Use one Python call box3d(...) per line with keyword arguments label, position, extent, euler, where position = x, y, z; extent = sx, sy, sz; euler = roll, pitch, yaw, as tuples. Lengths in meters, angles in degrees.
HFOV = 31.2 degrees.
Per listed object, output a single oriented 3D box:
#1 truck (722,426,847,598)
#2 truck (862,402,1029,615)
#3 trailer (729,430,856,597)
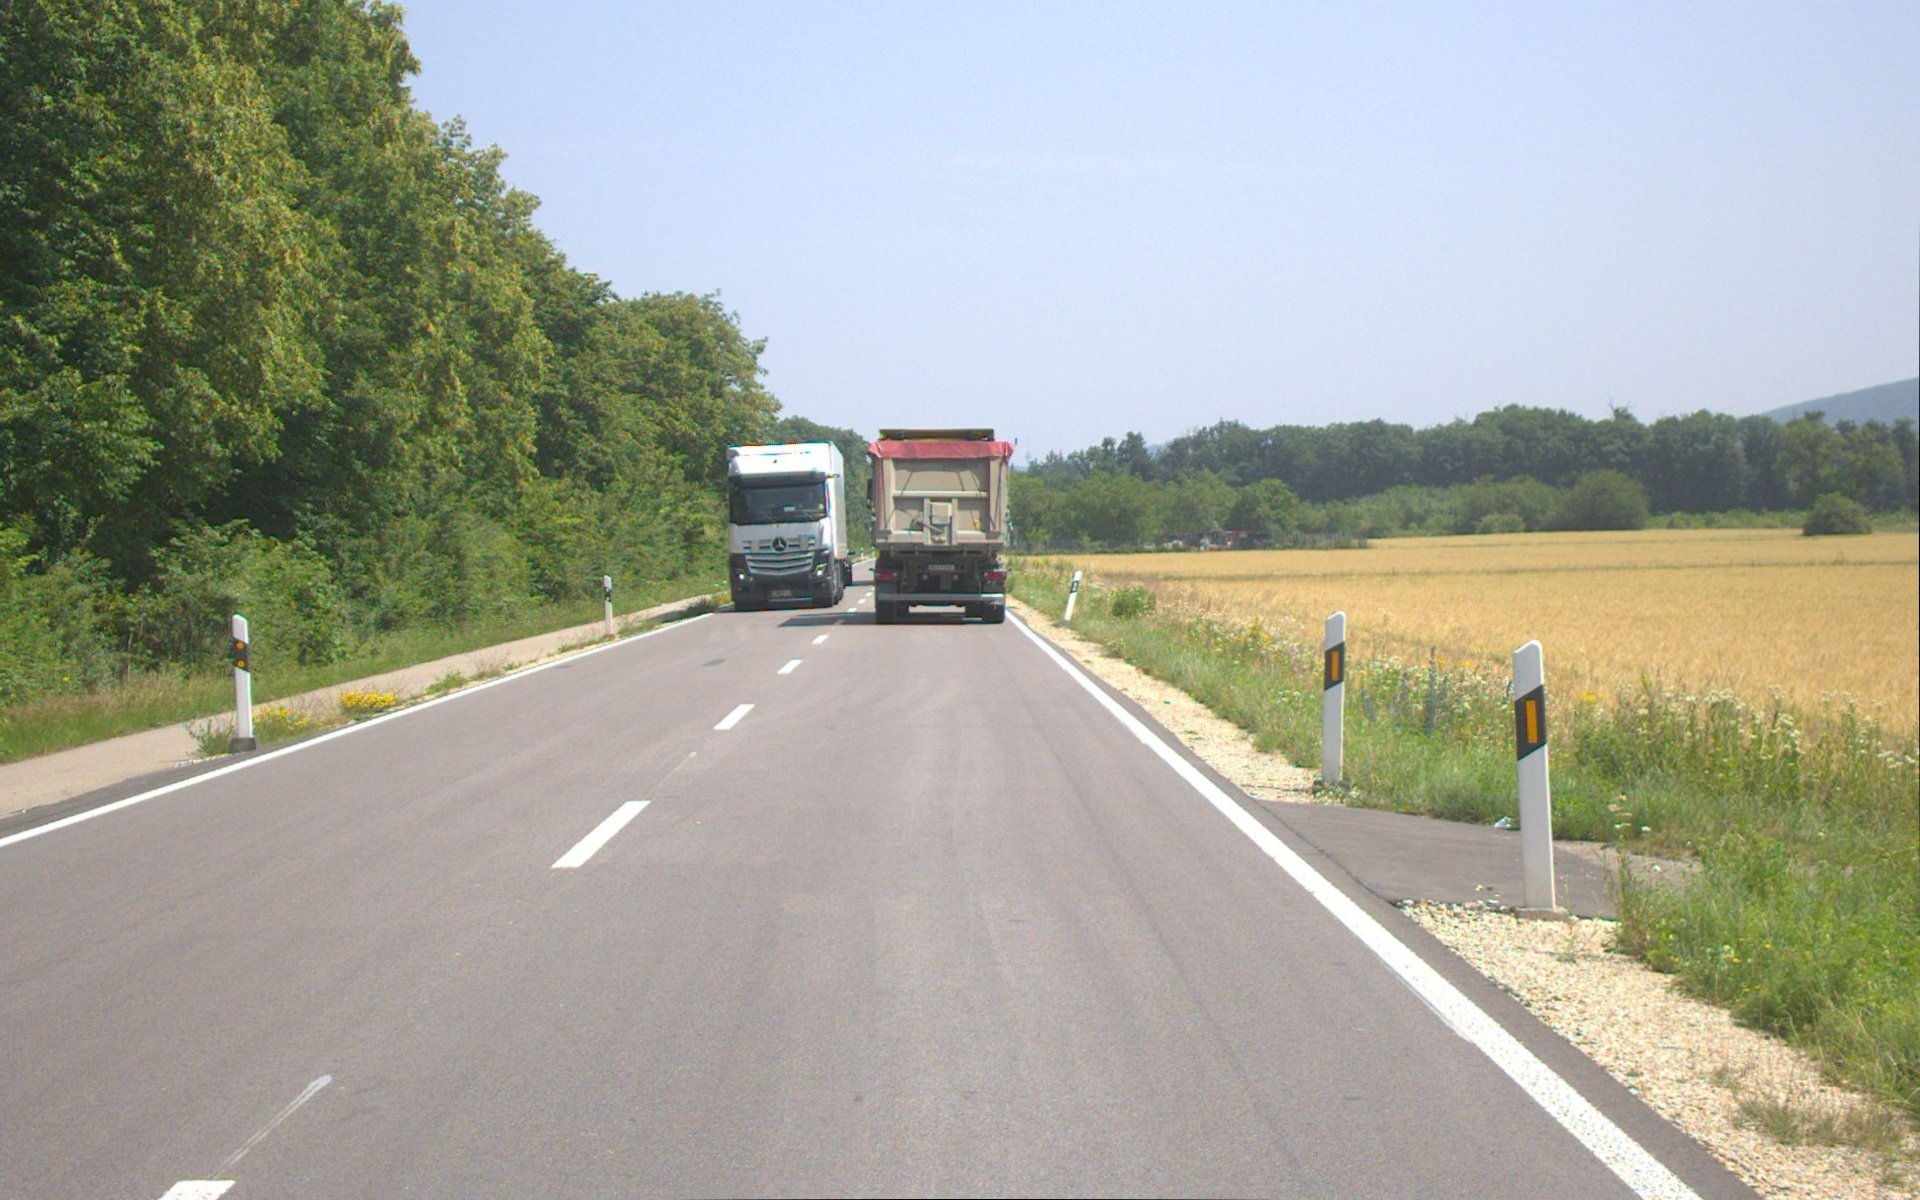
box3d(label="truck", position=(-4.228, -2.125, 83.766), extent=(2.656, 3.963, 5.727), euler=(-2, 1, 0))
box3d(label="truck", position=(-0.308, -1.734, 69.132), extent=(3.009, 3.861, 12.209), euler=(1, 1, 0))
box3d(label="trailer", position=(-4.284, -2.236, 90.360), extent=(2.653, 3.963, 13.355), euler=(-2, 1, 0))
